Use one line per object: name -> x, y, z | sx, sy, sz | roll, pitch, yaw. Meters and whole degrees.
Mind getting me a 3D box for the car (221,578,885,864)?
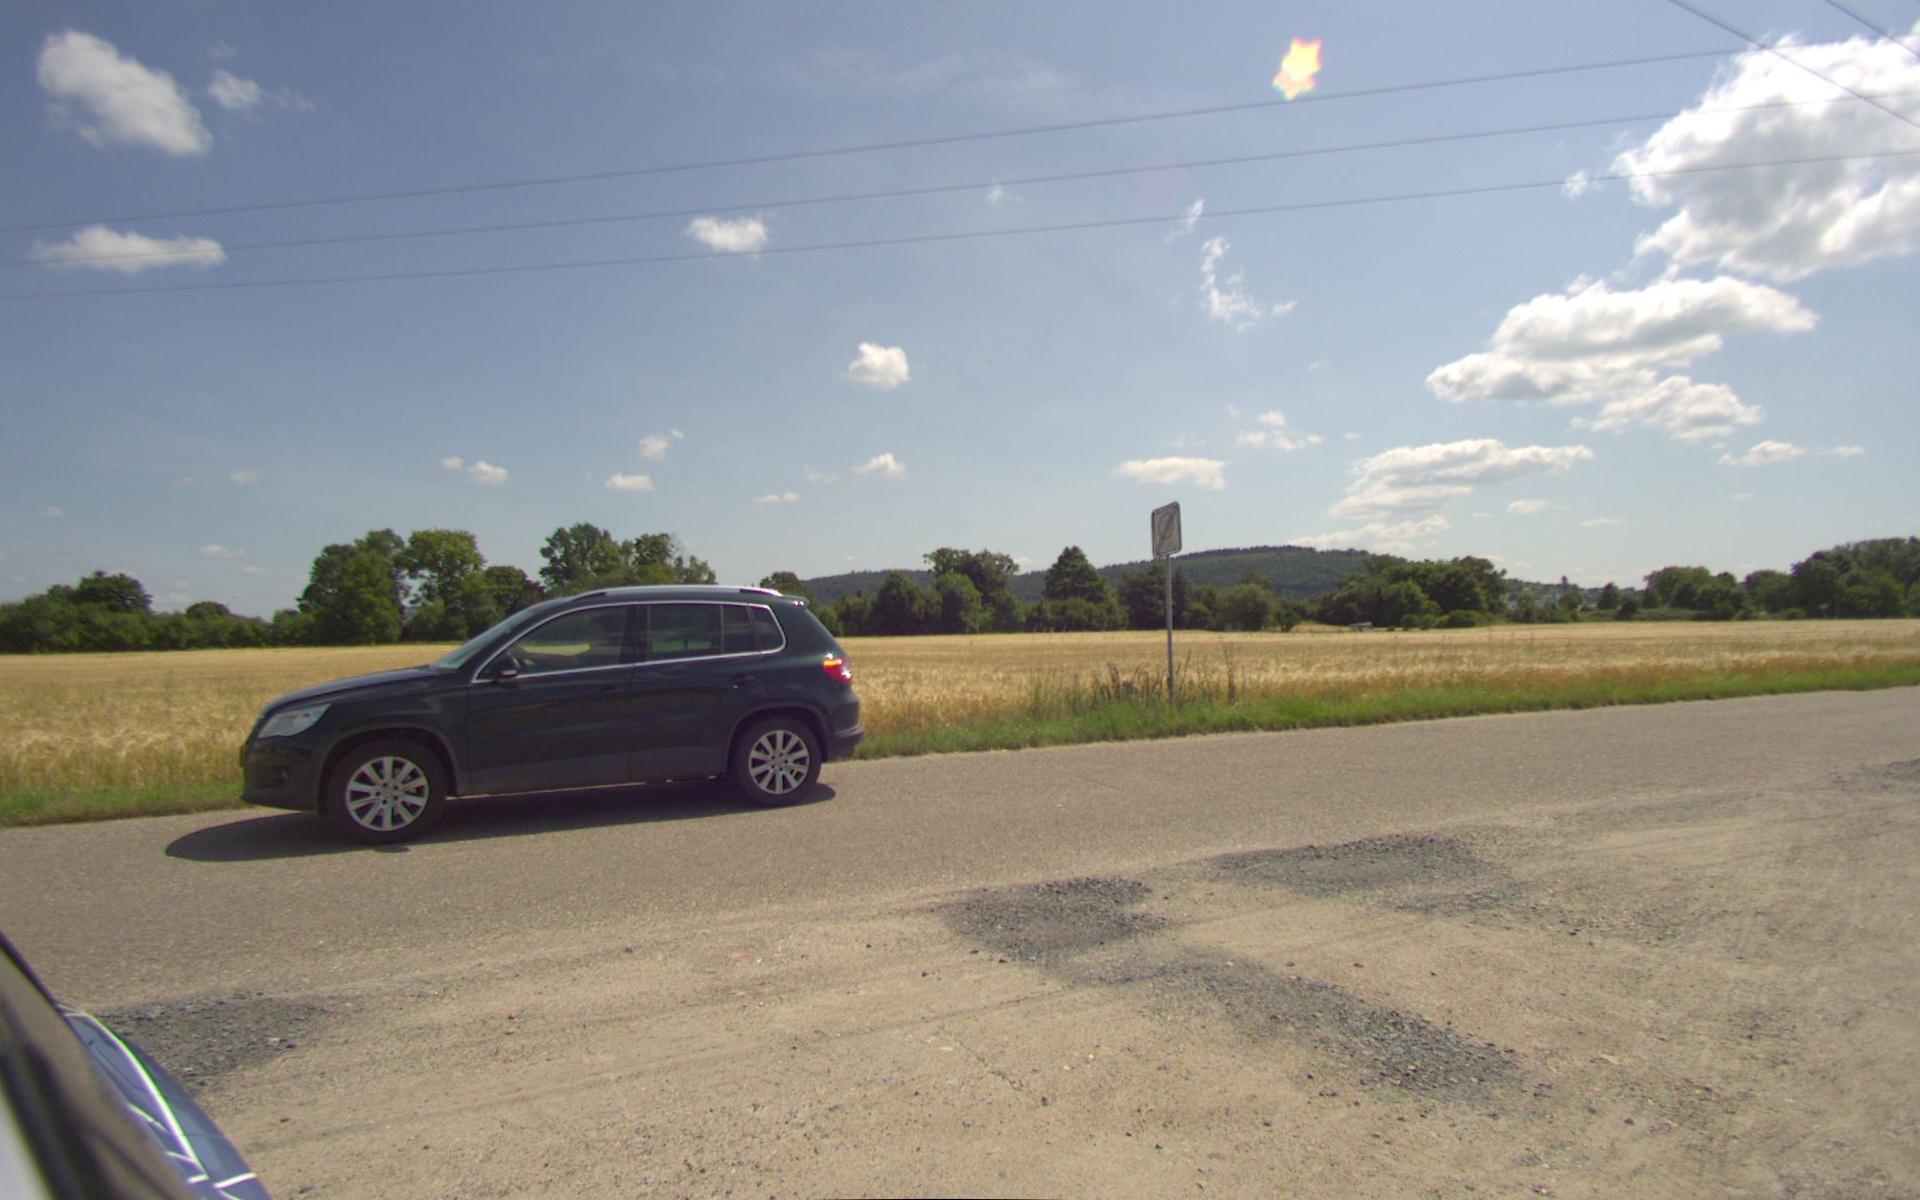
car -> -2.851, 0.734, 7.673 | 4.181, 1.692, 1.755 | 0, -2, -25
